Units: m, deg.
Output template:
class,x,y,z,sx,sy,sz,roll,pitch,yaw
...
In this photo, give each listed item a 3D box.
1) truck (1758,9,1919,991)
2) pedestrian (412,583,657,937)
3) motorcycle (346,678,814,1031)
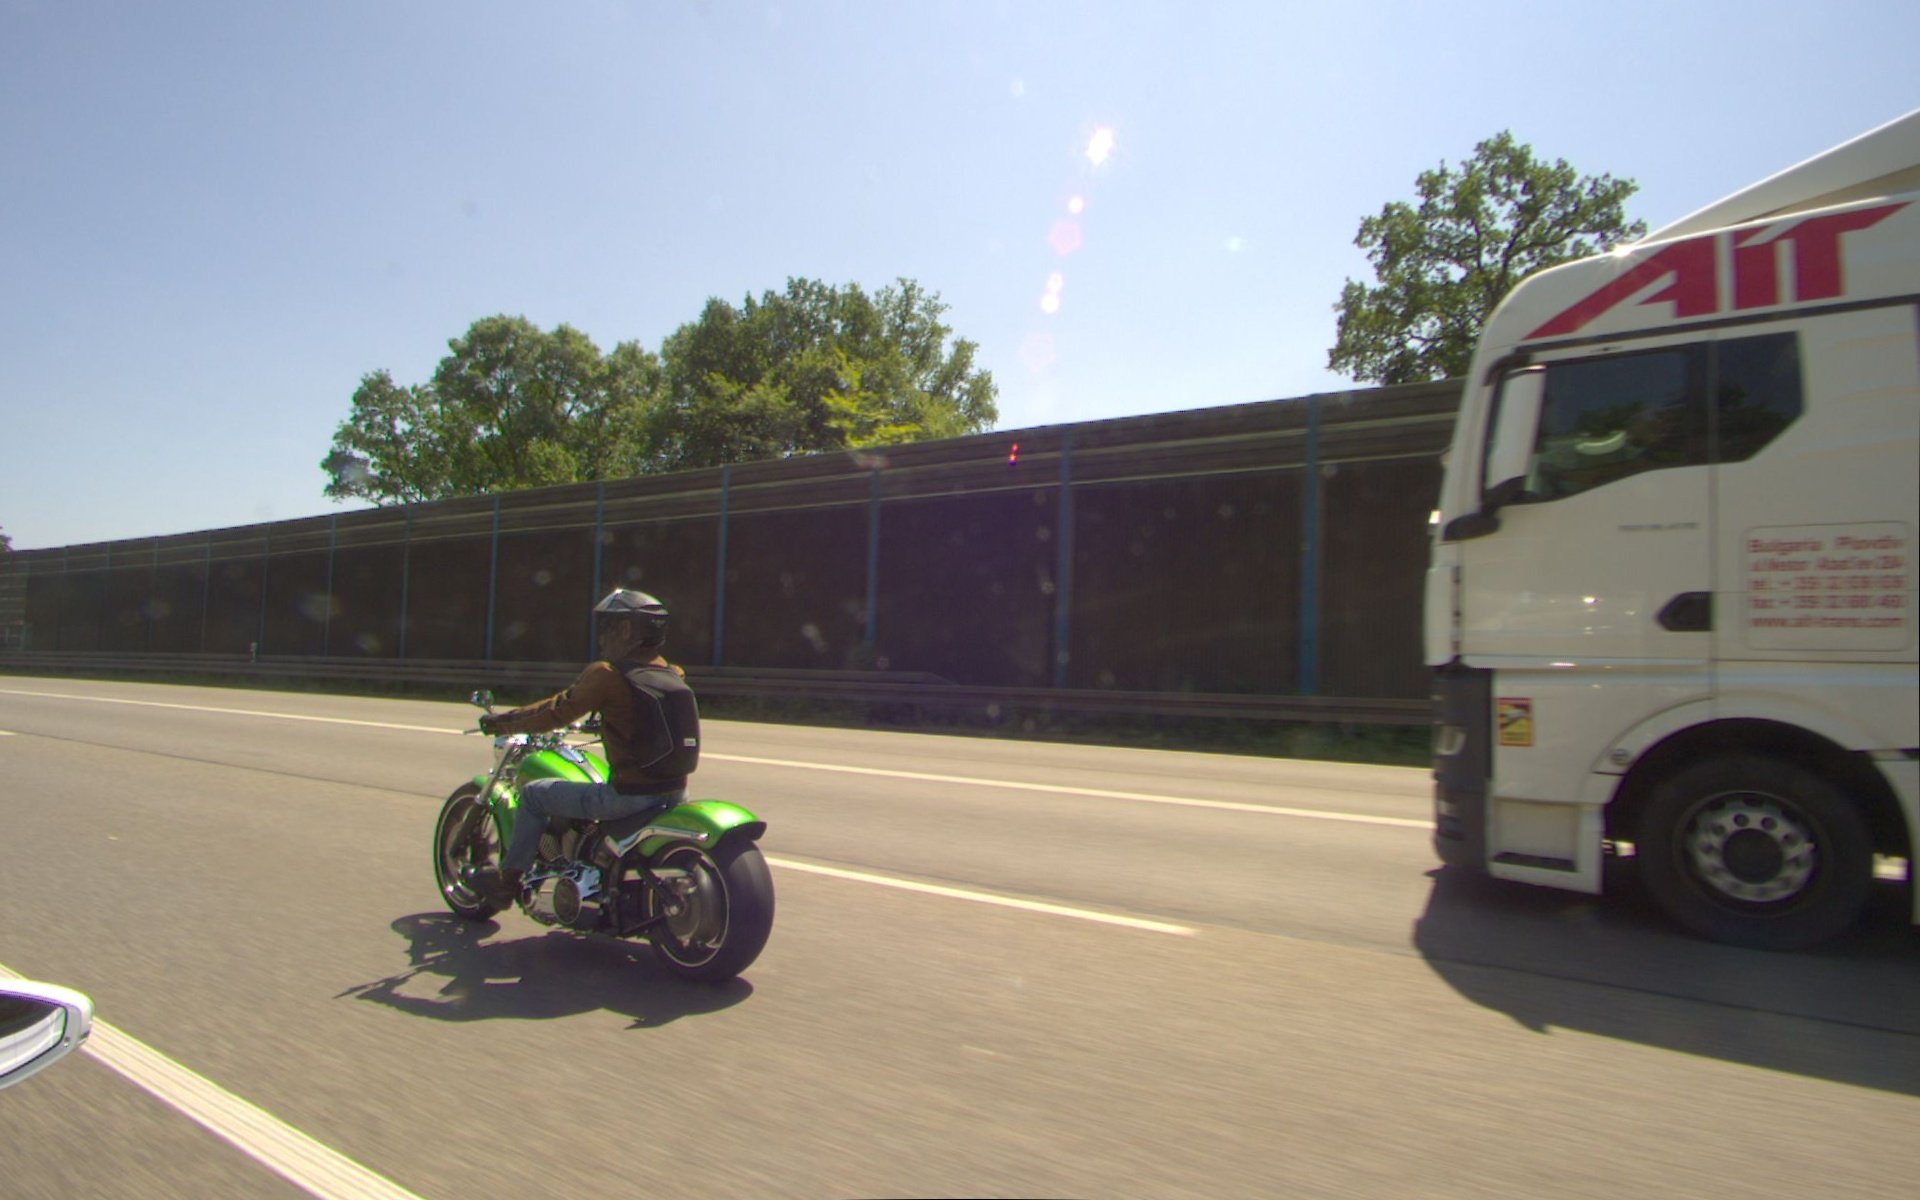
class,x,y,z,sx,sy,sz,roll,pitch,yaw
truck,6.856,-0.443,3.948,5.474,4.142,2.594,-1,-2,33
pedestrian,-2.006,0.695,4.778,0.629,1.497,0.850,0,-2,32
motorcycle,-1.822,1.011,4.657,2.244,1.197,0.858,0,-2,33
